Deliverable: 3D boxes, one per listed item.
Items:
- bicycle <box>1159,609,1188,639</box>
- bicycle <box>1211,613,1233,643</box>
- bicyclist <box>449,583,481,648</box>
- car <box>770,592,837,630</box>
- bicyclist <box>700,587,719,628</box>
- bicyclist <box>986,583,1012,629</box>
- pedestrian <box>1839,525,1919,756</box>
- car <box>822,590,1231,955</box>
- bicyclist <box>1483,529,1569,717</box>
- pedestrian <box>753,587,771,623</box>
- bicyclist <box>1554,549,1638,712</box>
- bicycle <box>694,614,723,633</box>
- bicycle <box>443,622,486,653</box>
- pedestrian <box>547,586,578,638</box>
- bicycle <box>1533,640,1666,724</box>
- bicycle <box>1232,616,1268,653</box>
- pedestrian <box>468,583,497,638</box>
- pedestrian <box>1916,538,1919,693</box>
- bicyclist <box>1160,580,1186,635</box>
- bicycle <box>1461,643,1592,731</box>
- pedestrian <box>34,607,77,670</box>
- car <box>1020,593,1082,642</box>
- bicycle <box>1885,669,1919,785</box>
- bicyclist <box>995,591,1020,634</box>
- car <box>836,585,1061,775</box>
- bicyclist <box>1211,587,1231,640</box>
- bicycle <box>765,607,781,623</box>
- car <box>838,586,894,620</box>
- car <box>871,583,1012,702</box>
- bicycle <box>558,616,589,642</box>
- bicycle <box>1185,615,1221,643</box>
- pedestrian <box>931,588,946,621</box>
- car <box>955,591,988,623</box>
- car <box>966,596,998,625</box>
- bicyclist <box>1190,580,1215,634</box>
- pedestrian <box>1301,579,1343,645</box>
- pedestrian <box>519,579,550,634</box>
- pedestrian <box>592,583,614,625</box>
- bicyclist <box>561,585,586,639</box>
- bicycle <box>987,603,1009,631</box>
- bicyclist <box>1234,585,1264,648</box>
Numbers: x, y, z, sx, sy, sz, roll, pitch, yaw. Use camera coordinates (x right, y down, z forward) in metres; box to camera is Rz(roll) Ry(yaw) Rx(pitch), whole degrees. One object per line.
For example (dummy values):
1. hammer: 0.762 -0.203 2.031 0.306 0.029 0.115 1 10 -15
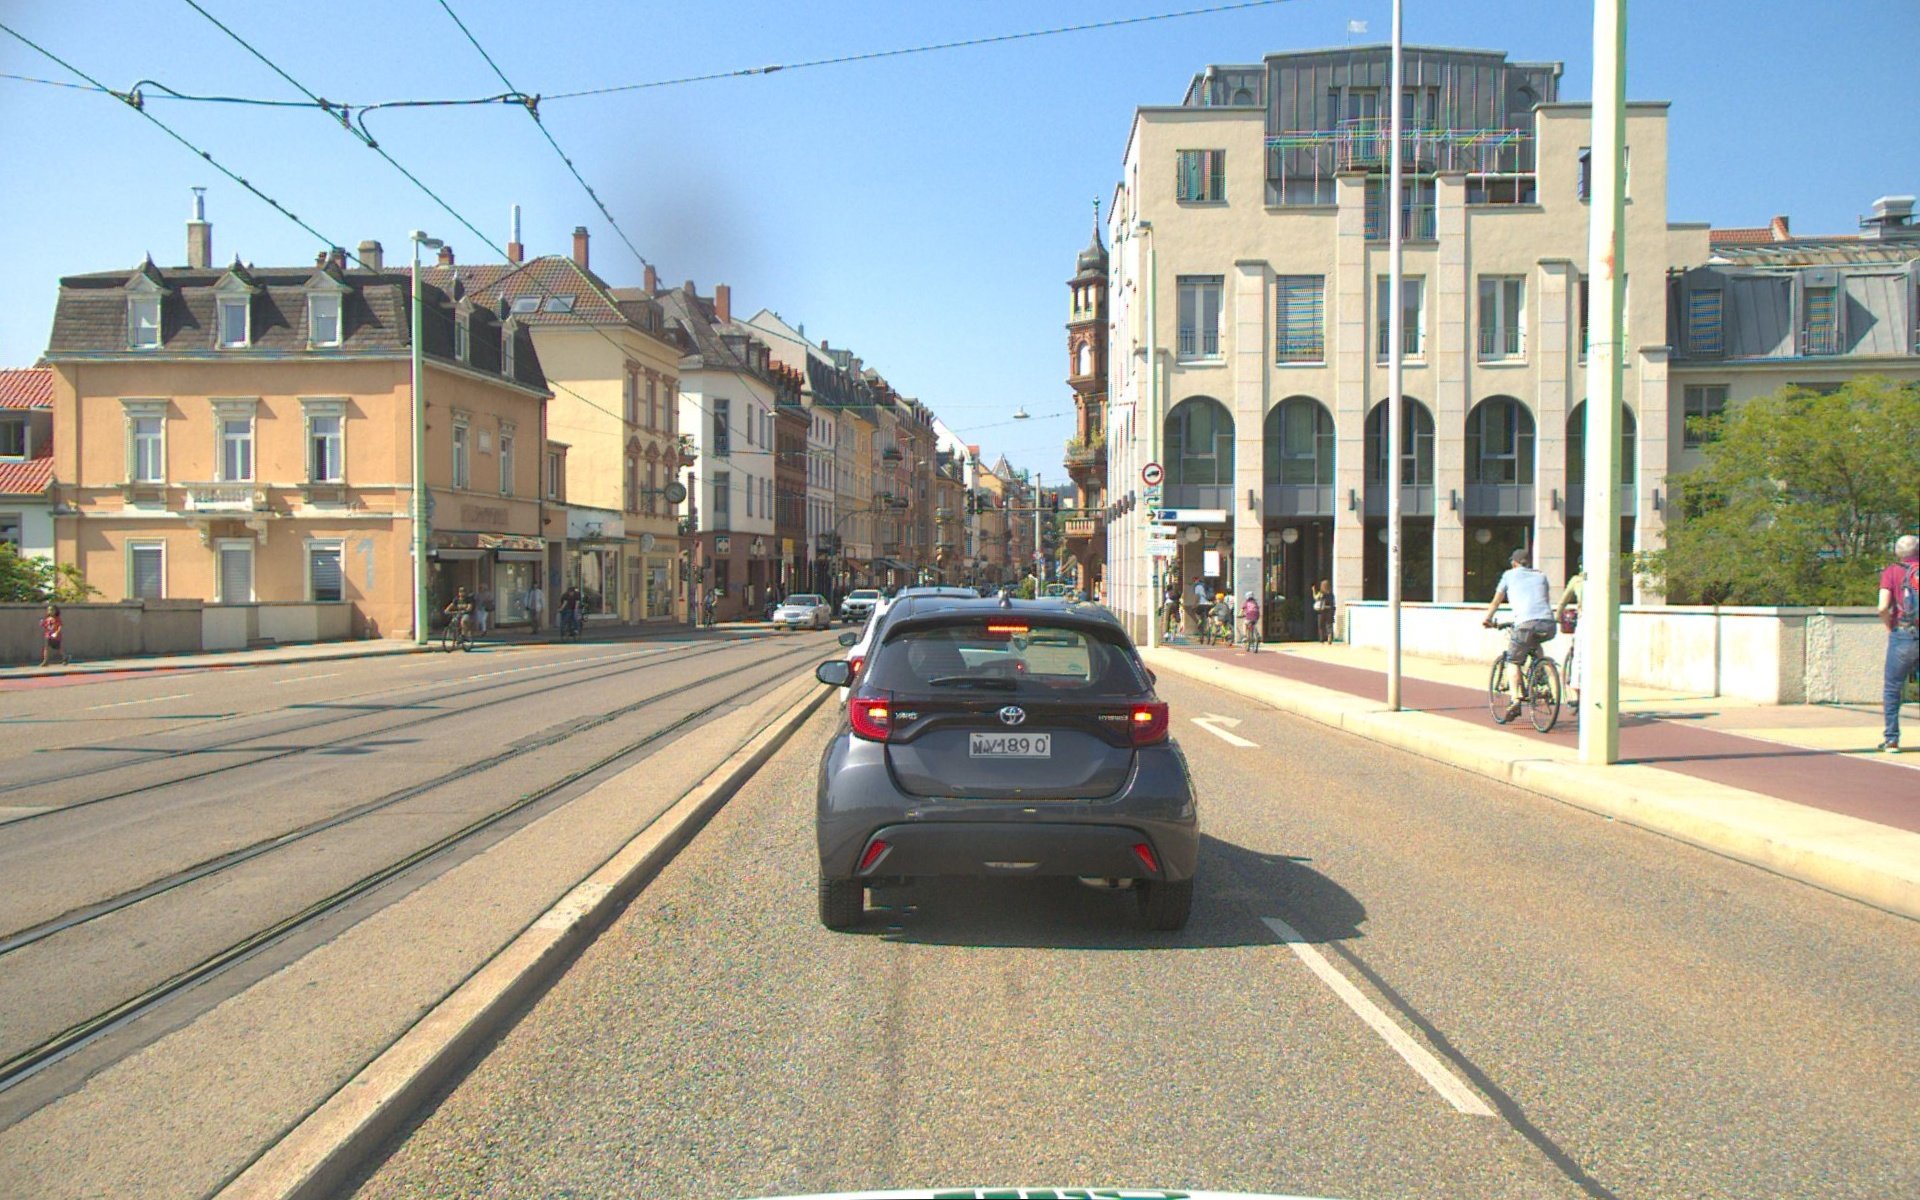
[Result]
1. bicycle: 6.697 0.735 51.947 0.689 0.898 1.525 -1 0 0
2. bicycle: 7.038 0.760 44.515 0.408 0.779 0.961 -2 0 -1
3. bicyclist: -13.022 0.396 43.510 0.614 1.679 0.622 2 1 -1
4. car: -6.288 0.438 66.963 1.694 1.486 4.377 0 0 9
5. bicyclist: -10.368 0.304 68.469 0.614 1.679 0.622 2 1 8
6. bicyclist: 2.231 0.345 94.547 1.202 2.572 1.105 4 0 5
7. pedestrian: 7.930 0.309 13.670 0.724 1.833 1.015 -2 0 -2
8. car: 0.239 0.718 8.766 1.685 1.499 3.657 1 0 -1
9. bicyclist: 5.721 0.224 16.748 0.575 1.852 0.701 -1 0 -3
10. pedestrian: -10.392 0.251 86.720 0.721 1.796 0.787 4 0 -1
11. bicyclist: 6.747 0.317 17.569 0.575 1.679 0.701 -1 0 -3
12. bicycle: -10.393 0.957 68.468 0.607 0.728 2.047 2 1 8
13. bicycle: -13.025 0.974 43.543 0.608 0.728 1.771 2 1 -1
14. pedestrian: -13.486 0.397 56.090 0.746 1.682 0.712 4 0 3
15. bicycle: 6.759 0.846 17.565 0.582 0.779 1.865 -1 0 -3
16. bicycle: 6.679 0.785 38.169 0.503 0.779 1.660 -2 0 -1
17. pedestrian: -14.826 0.313 51.367 0.636 1.629 0.566 4 2 -1
18. pedestrian: 7.950 0.378 12.532 0.739 1.748 1.073 -2 0 -2
19. bicyclist: 6.686 0.229 51.960 0.687 1.725 0.924 -1 0 -1
20. bicycle: 5.725 0.862 16.809 0.582 0.779 1.865 -1 0 -3
21. pedestrian: -17.292 0.727 31.641 0.403 1.166 0.545 4 0 7
22. car: 2.930 0.543 54.170 1.671 1.491 4.325 1 0 -1
23. bicycle: 6.916 0.881 10.848 0.582 0.779 1.830 -1 0 -3
24. bicyclist: 2.931 0.794 102.792 1.202 2.572 1.106 4 0 11
25. car: -0.142 0.667 15.905 1.859 1.557 3.999 1 0 -1
26. bicyclist: 7.025 0.360 44.487 0.413 1.407 0.443 -2 0 -1
27. bicycle: -9.773 0.783 86.499 0.608 0.728 1.770 4 0 -1
28. car: -4.611 0.128 81.896 1.951 1.614 4.656 0 0 7
29. car: -0.292 0.558 24.175 1.859 1.557 3.999 1 0 -1
30. bicycle: -12.226 0.919 52.353 0.608 0.728 1.731 2 1 -1
31. bicycle: 6.850 0.813 46.598 0.414 0.779 0.948 -2 0 -40
32. pedestrian: -1.774 0.365 134.080 1.030 2.633 1.501 4 0 -1
33. car: 0.778 0.474 109.517 1.952 2.049 4.001 1 -1 3
34. car: 1.726 0.815 126.249 1.952 2.048 4.003 4 0 6
35. bicyclist: 6.831 0.193 46.606 0.480 1.492 0.437 -2 0 -40
36. pedestrian: 9.394 0.298 42.916 0.724 1.642 1.015 4 0 -2
37. pedestrian: -14.316 0.219 55.712 0.721 1.796 0.787 4 0 -1
38. pedestrian: -14.185 0.160 65.758 0.636 1.629 0.566 4 2 -1
39. bicyclist: -12.212 0.379 52.281 0.614 1.679 0.622 2 1 -1
40. bicycle: 2.174 0.958 94.377 1.089 1.444 3.008 3 0 3
41. bicyclist: 6.666 0.377 38.218 0.523 1.407 0.669 -2 0 -1
